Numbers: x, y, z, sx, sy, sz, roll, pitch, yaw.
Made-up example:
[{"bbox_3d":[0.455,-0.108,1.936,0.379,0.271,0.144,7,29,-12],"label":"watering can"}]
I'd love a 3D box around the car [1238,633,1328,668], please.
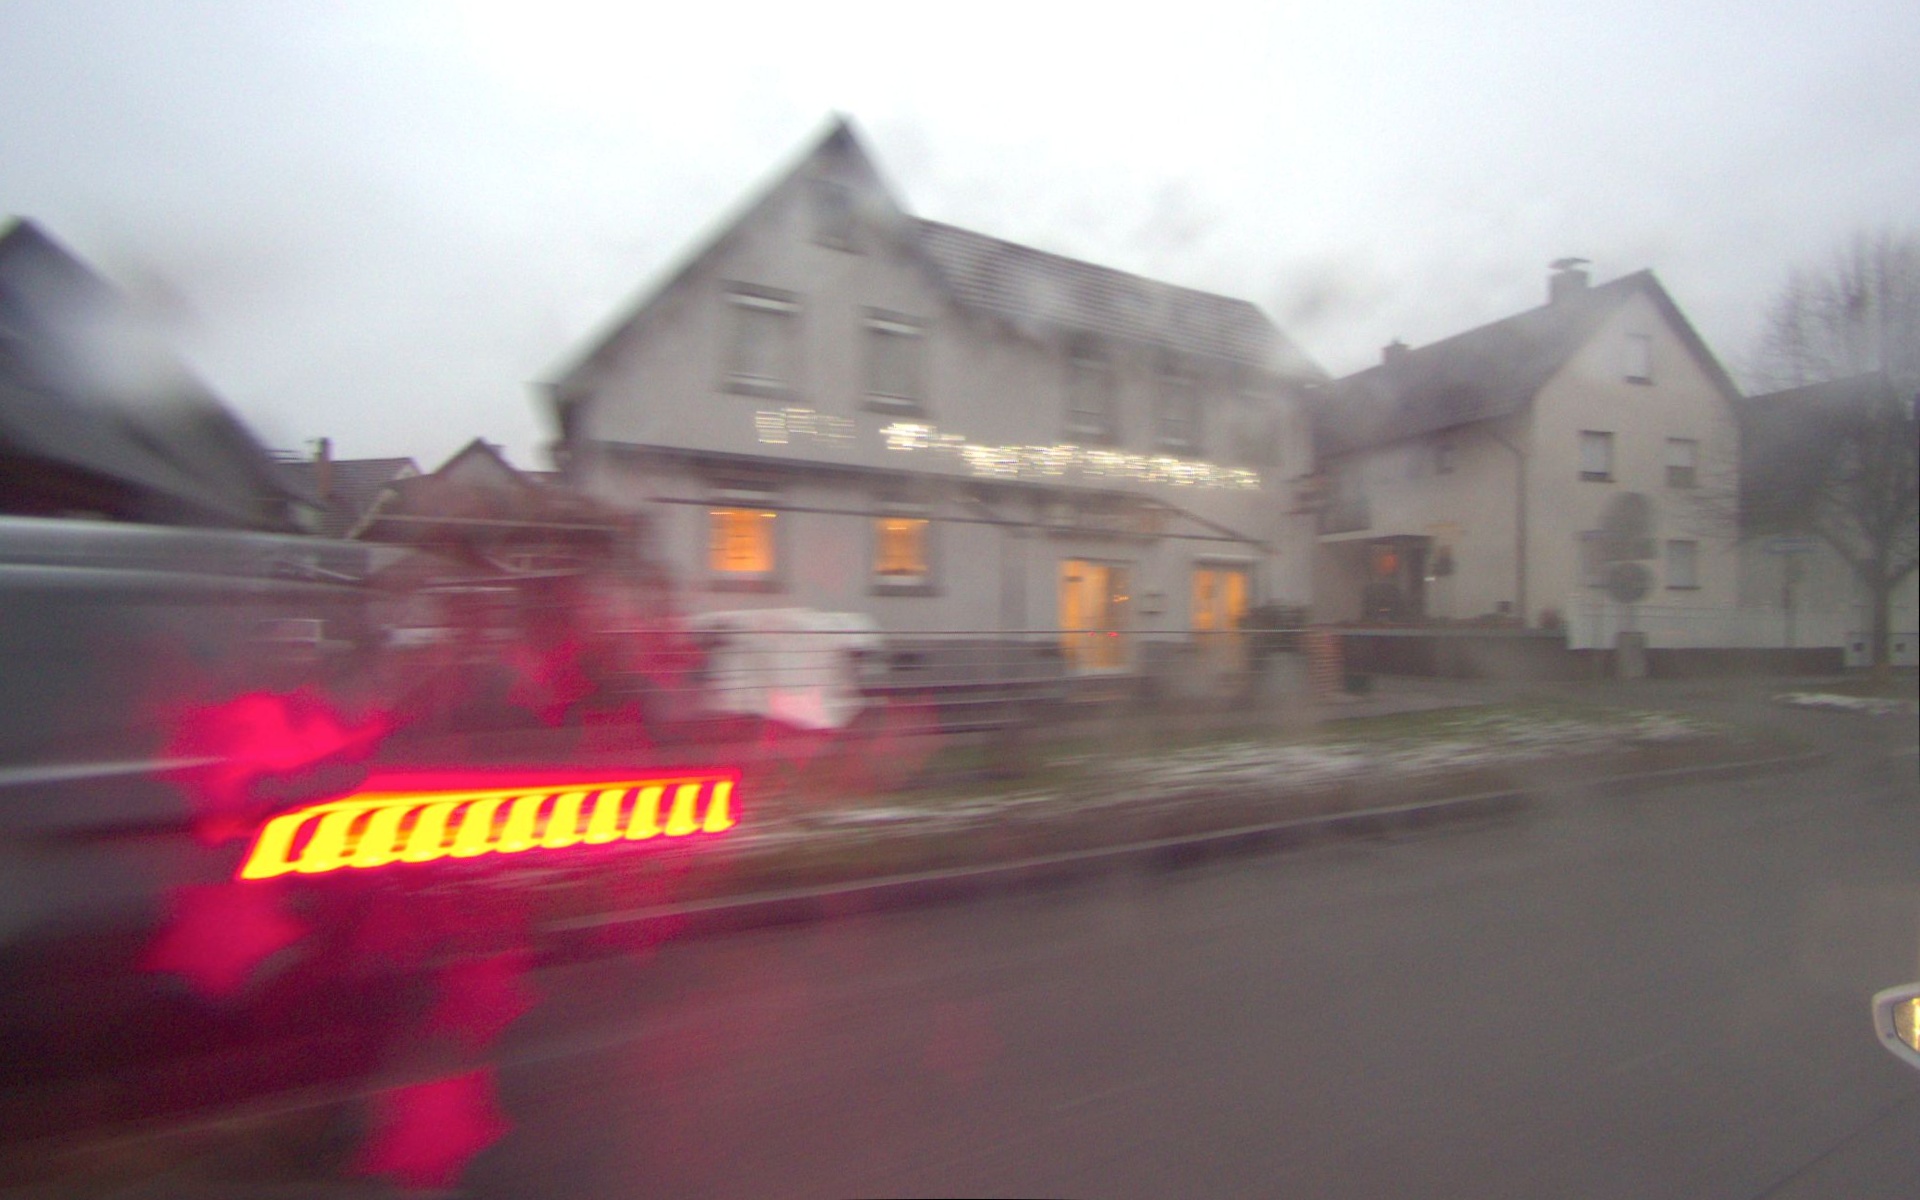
[{"bbox_3d":[10.329,1.603,32.135,2.617,1.072,1.123,1,-1,-20],"label":"car"}]

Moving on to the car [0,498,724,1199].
[{"bbox_3d":[-2.757,0.683,1.925,4.175,1.654,1.806,1,-2,-30],"label":"car"}]

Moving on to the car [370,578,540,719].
[{"bbox_3d":[-7.603,0.693,15.539,1.883,1.824,4.545,1,-1,-21],"label":"car"}]
